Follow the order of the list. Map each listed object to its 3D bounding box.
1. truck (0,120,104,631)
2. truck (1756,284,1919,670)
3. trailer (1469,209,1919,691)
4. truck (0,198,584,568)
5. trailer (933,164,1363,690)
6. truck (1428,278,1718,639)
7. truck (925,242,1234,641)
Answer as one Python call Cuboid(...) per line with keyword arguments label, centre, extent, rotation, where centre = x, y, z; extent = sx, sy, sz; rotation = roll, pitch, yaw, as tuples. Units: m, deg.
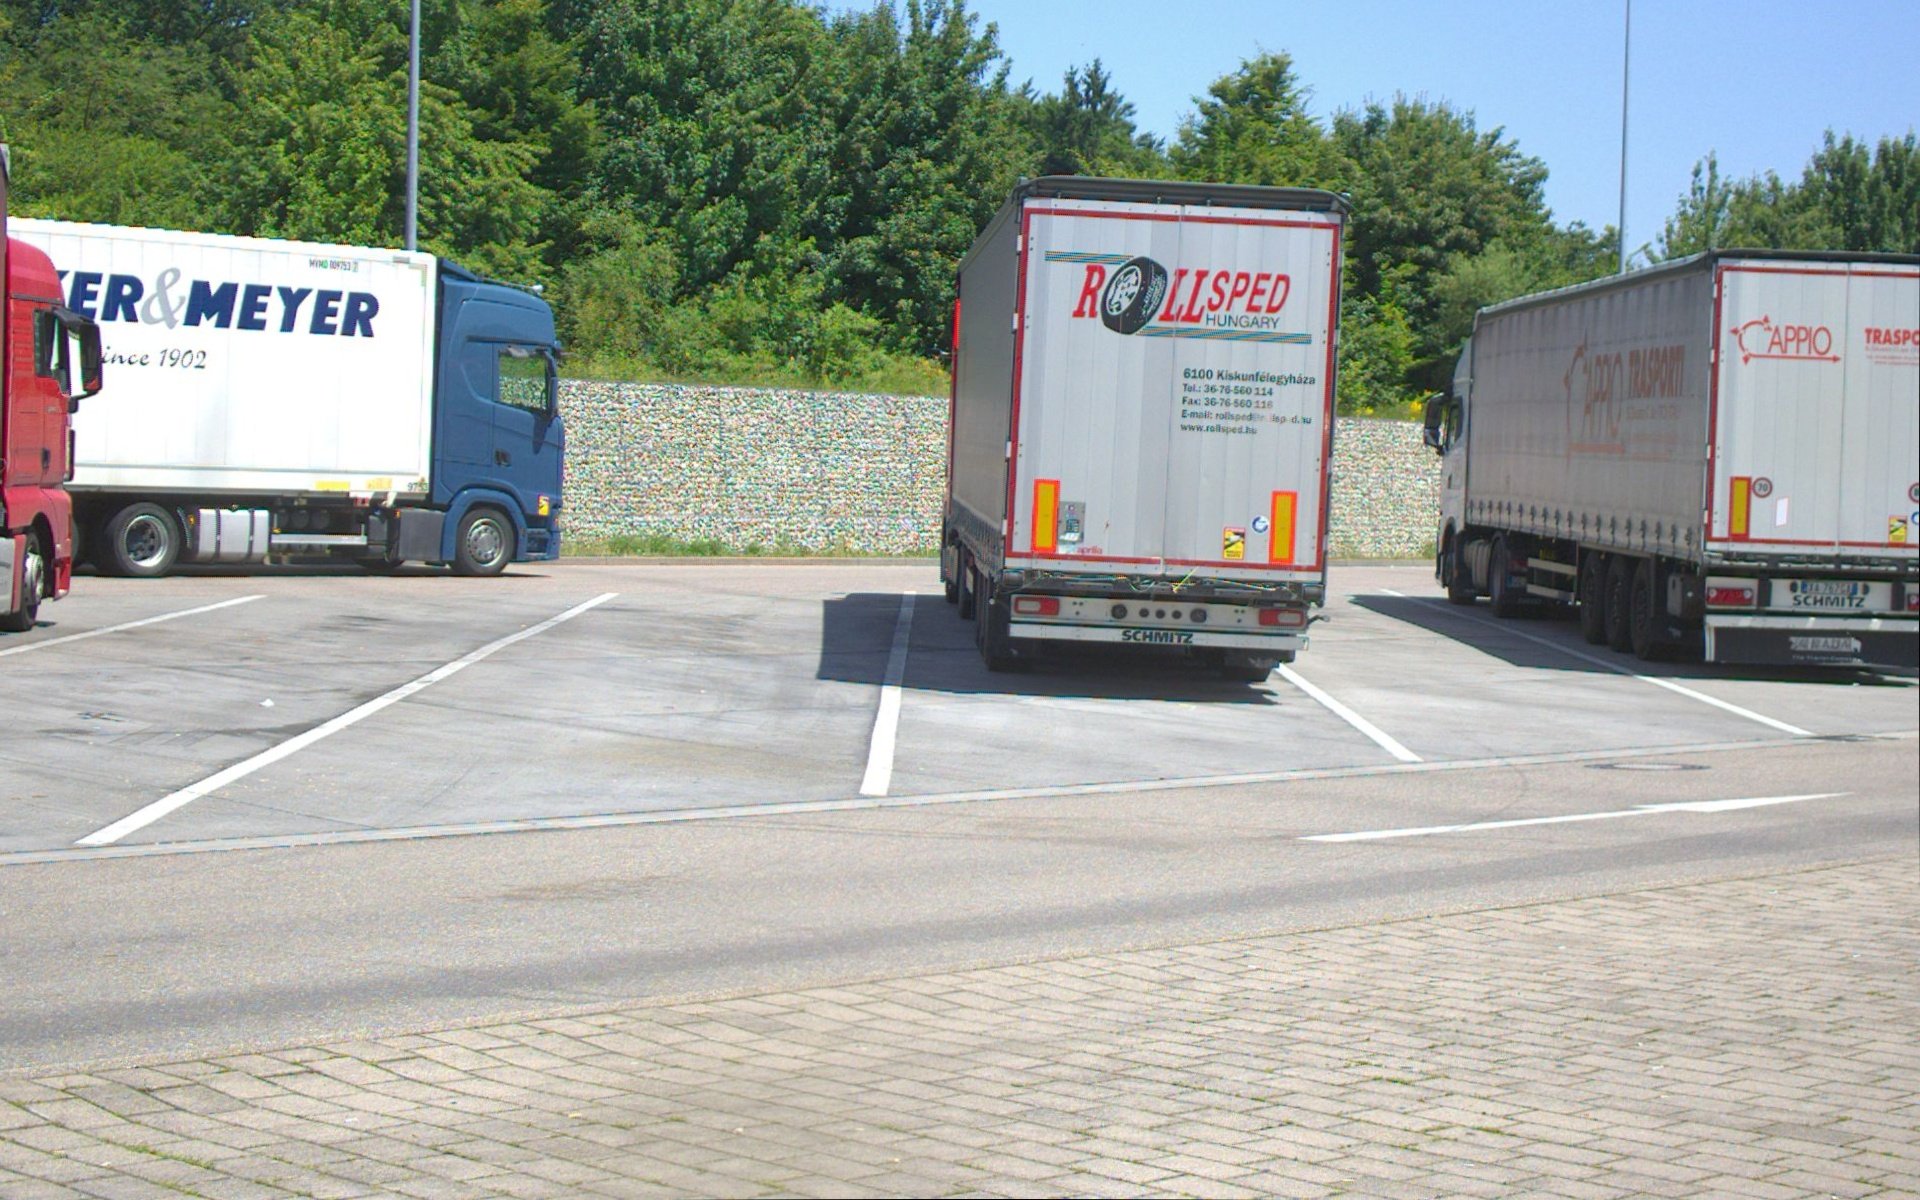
Cuboid(label="truck", centre=(-9.168, -1.841, 28.344), extent=(2.805, 4.119, 5.894), rotation=(1, 2, -1))
Cuboid(label="truck", centre=(11.738, -1.342, 38.698), extent=(2.587, 4.211, 11.971), rotation=(1, 1, -1))
Cuboid(label="trailer", centre=(8.119, -1.585, 38.252), extent=(2.681, 4.437, 12.831), rotation=(1, 2, -1))
Cuboid(label="truck", centre=(-9.157, -2.476, 41.452), extent=(2.240, 4.019, 10.028), rotation=(2, 1, 44))
Cuboid(label="trailer", centre=(1.402, -1.508, 32.042), extent=(2.897, 4.000, 11.319), rotation=(1, 2, -2))
Cuboid(label="truck", centre=(7.985, -1.838, 45.491), extent=(2.661, 4.437, 5.864), rotation=(1, 2, -1))
Cuboid(label="truck", centre=(1.175, -1.697, 37.728), extent=(2.871, 3.966, 6.030), rotation=(1, 2, -2))
